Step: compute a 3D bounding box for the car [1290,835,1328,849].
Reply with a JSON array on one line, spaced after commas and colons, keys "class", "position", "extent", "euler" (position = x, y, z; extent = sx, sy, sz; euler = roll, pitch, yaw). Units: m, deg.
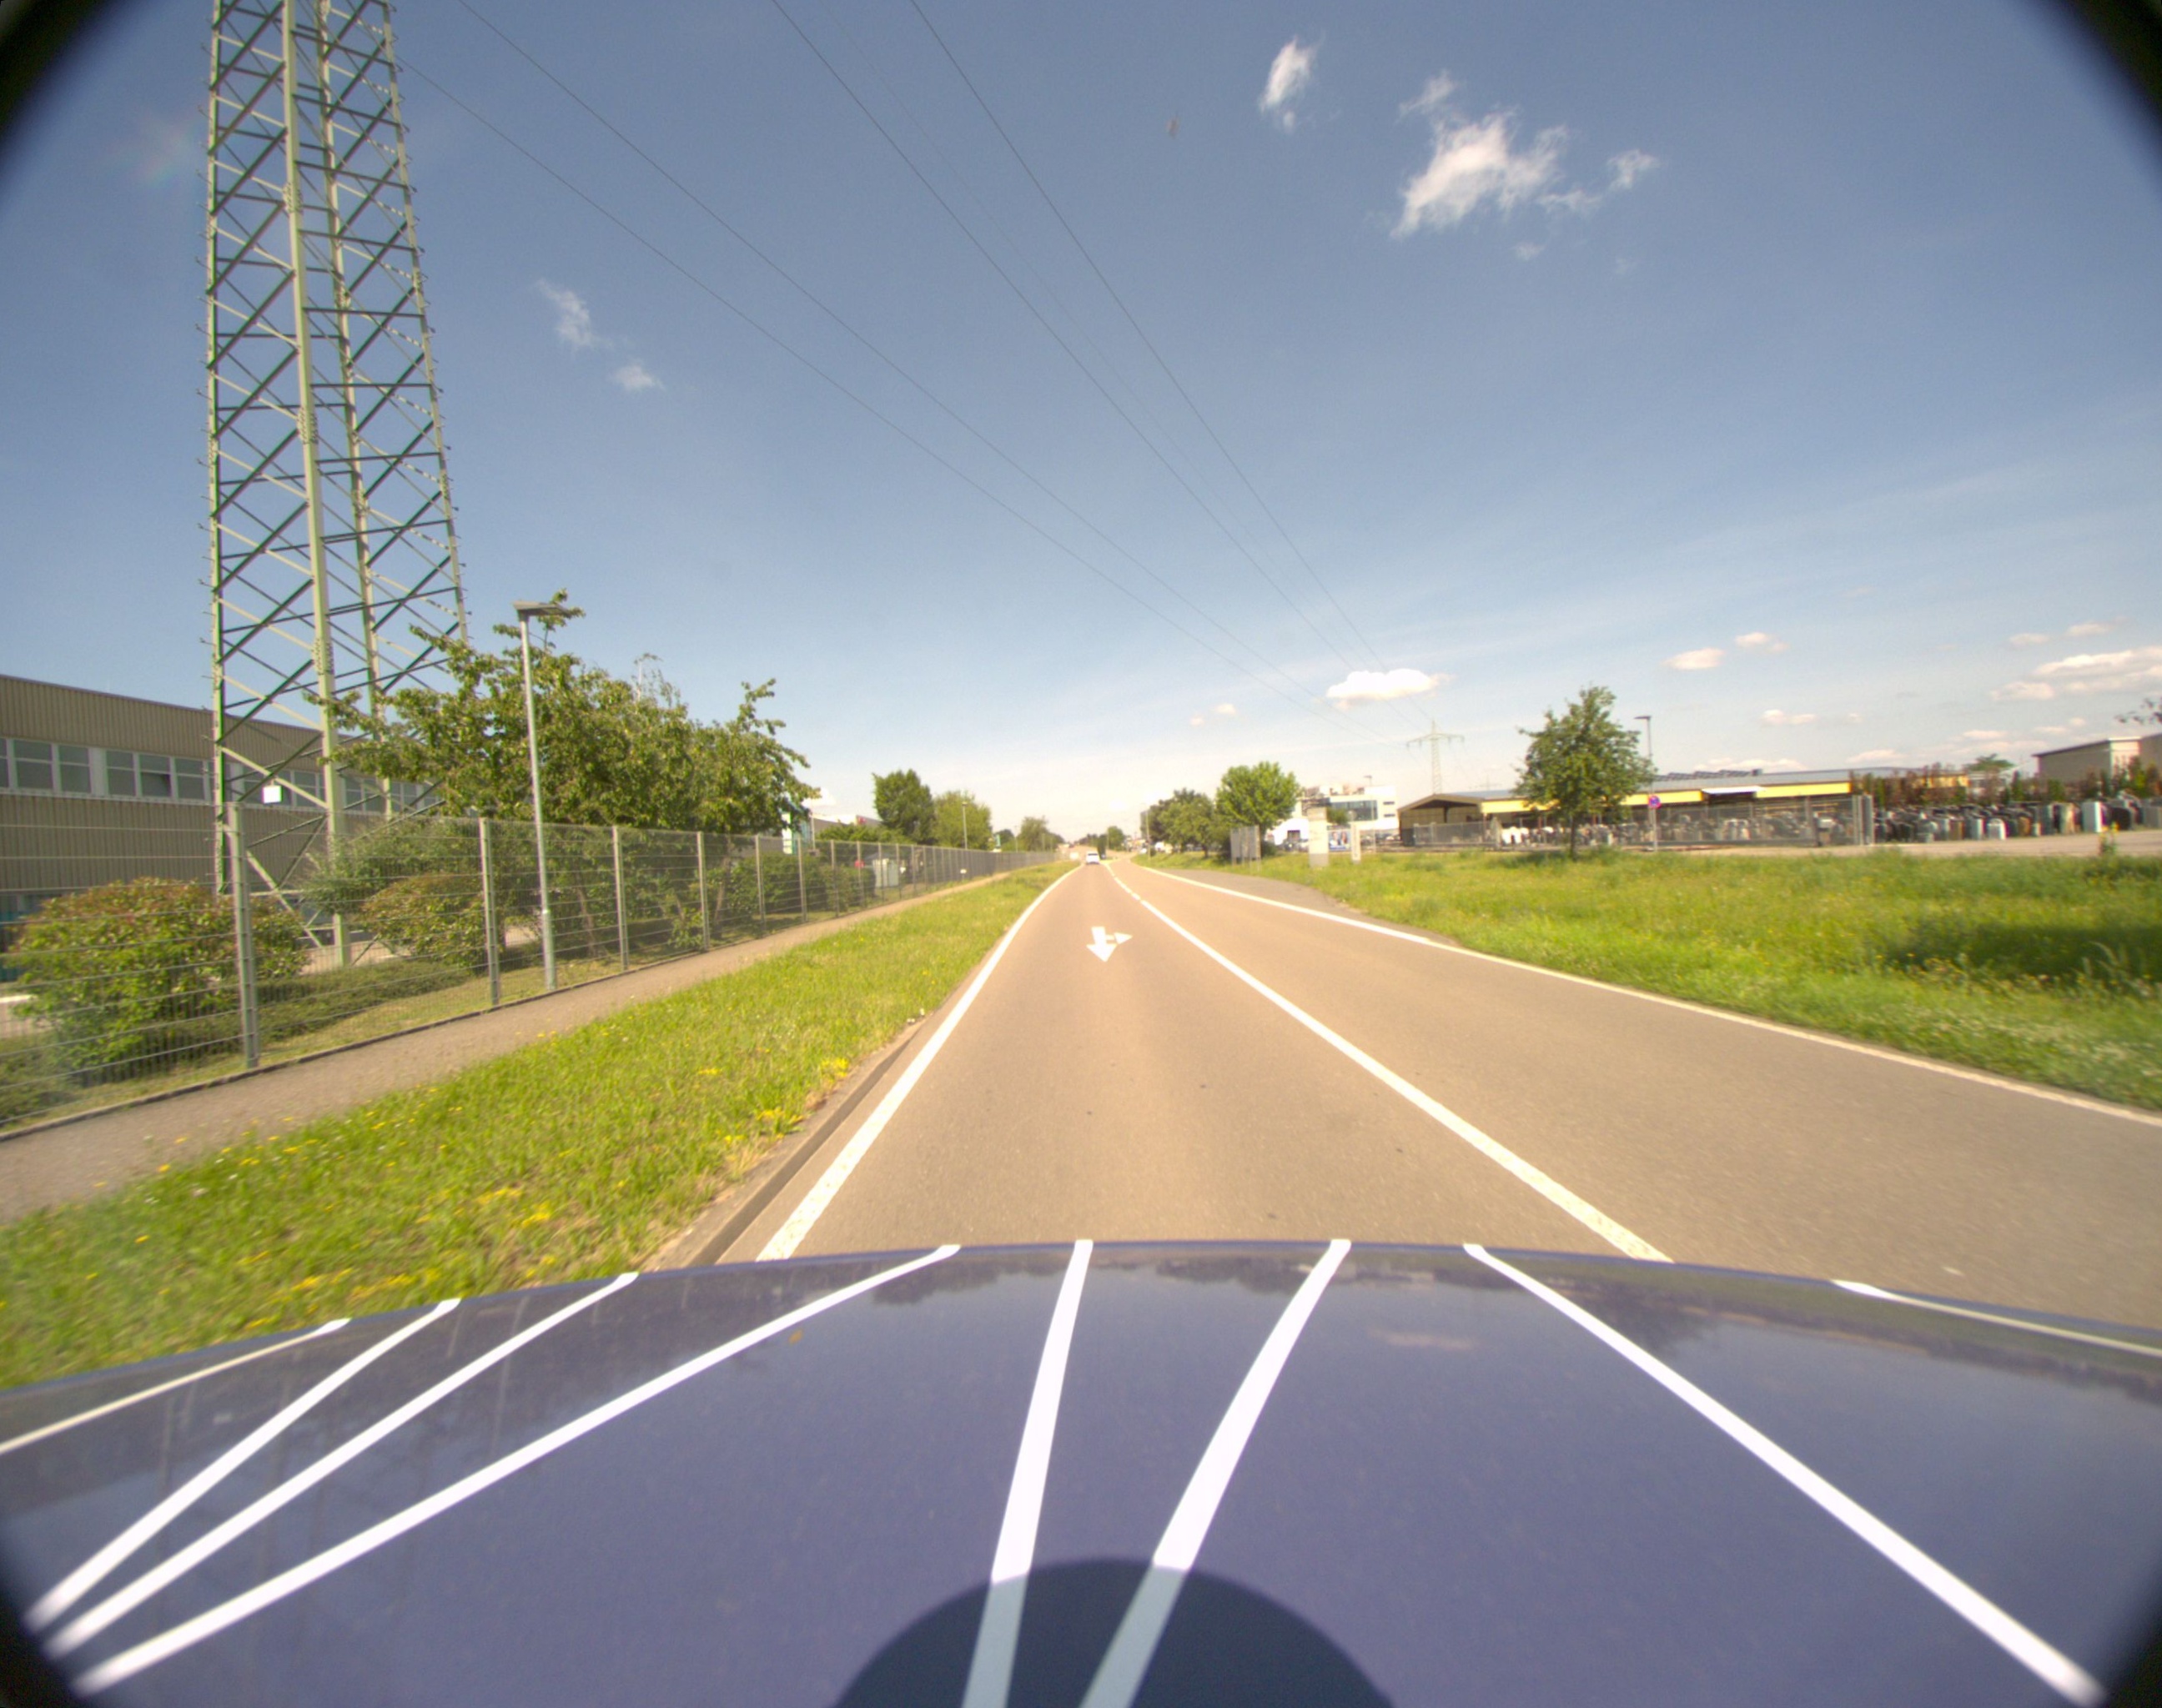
[{"class": "car", "position": [25.736, -1.384, 85.662], "extent": [4.005, 1.302, 1.938], "euler": [-4, 1, -32]}]

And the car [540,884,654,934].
[{"class": "car", "position": [-22.292, 2.463, 35.335], "extent": [2.116, 1.769, 5.651], "euler": [-4, 0, -7]}]

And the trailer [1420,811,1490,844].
[{"class": "trailer", "position": [37.144, -2.623, 75.546], "extent": [5.578, 2.809, 2.739], "euler": [-4, 1, -6]}]

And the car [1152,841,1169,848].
[{"class": "car", "position": [19.970, -2.312, 190.329], "extent": [3.996, 1.510, 2.000], "euler": [-3, 1, 3]}]

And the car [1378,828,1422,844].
[{"class": "car", "position": [36.782, -2.076, 87.784], "extent": [2.003, 1.477, 4.239], "euler": [-4, 1, -30]}]

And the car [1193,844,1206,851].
[{"class": "car", "position": [25.095, -1.378, 160.630], "extent": [1.999, 1.400, 4.516], "euler": [-4, 0, 0]}]

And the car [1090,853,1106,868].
[{"class": "car", "position": [2.394, 0.941, 106.299], "extent": [1.998, 1.904, 4.000], "euler": [-3, 1, 4]}]
